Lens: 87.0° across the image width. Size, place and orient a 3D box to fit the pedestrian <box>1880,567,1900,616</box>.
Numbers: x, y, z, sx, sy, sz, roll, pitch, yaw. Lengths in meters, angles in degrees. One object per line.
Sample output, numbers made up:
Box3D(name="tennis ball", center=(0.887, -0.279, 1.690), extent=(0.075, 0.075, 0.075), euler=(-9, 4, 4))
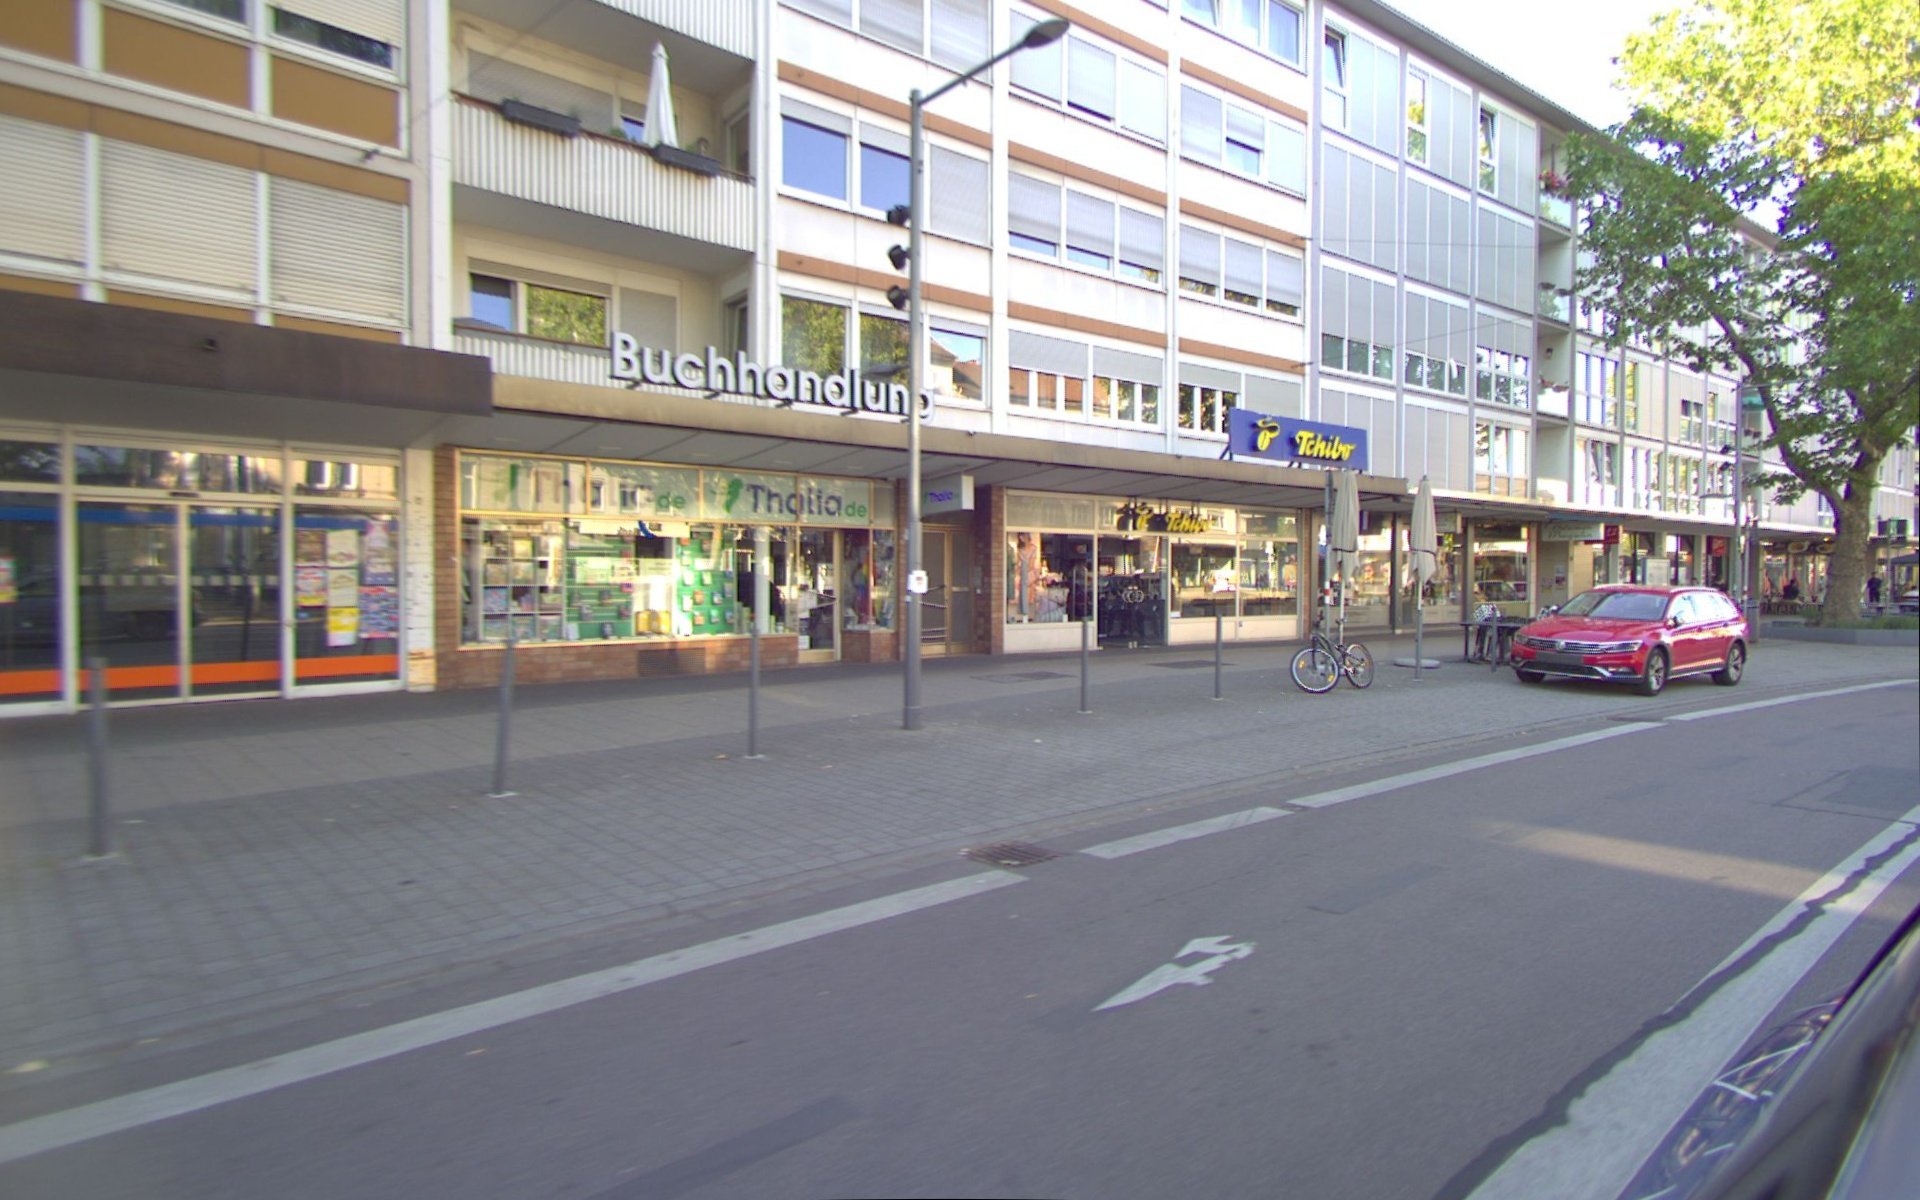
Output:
Box3D(name="pedestrian", center=(39.160, -0.366, 42.625), extent=(0.550, 2.039, 0.569), euler=(-2, -1, 41))

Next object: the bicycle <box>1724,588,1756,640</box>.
Box3D(name="bicycle", center=(17.861, 0.310, 23.168), extent=(1.690, 1.114, 0.294), euler=(-2, 4, -45))

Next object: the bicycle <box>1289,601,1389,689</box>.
Box3D(name="bicycle", center=(5.198, 0.581, 13.827), extent=(1.632, 1.083, 0.512), euler=(-1, 3, -40))

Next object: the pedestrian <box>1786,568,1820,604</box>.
Box3D(name="pedestrian", center=(32.893, -0.553, 39.480), extent=(0.943, 1.379, 0.751), euler=(-1, 1, -30))

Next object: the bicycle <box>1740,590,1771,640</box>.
Box3D(name="bicycle", center=(18.074, 0.320, 22.978), extent=(1.690, 1.053, 0.294), euler=(-2, 4, -45))

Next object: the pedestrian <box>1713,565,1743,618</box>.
Box3D(name="pedestrian", center=(24.242, -0.279, 31.940), extent=(0.674, 1.610, 0.539), euler=(-1, 3, -35))

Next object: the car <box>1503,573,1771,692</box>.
Box3D(name="car", center=(10.296, 0.375, 15.301), extent=(4.480, 1.514, 1.785), euler=(-1, 3, -34))

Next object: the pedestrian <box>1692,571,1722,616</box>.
Box3D(name="pedestrian", center=(24.000, -0.214, 32.505), extent=(0.674, 1.417, 0.539), euler=(-1, 3, -35))
